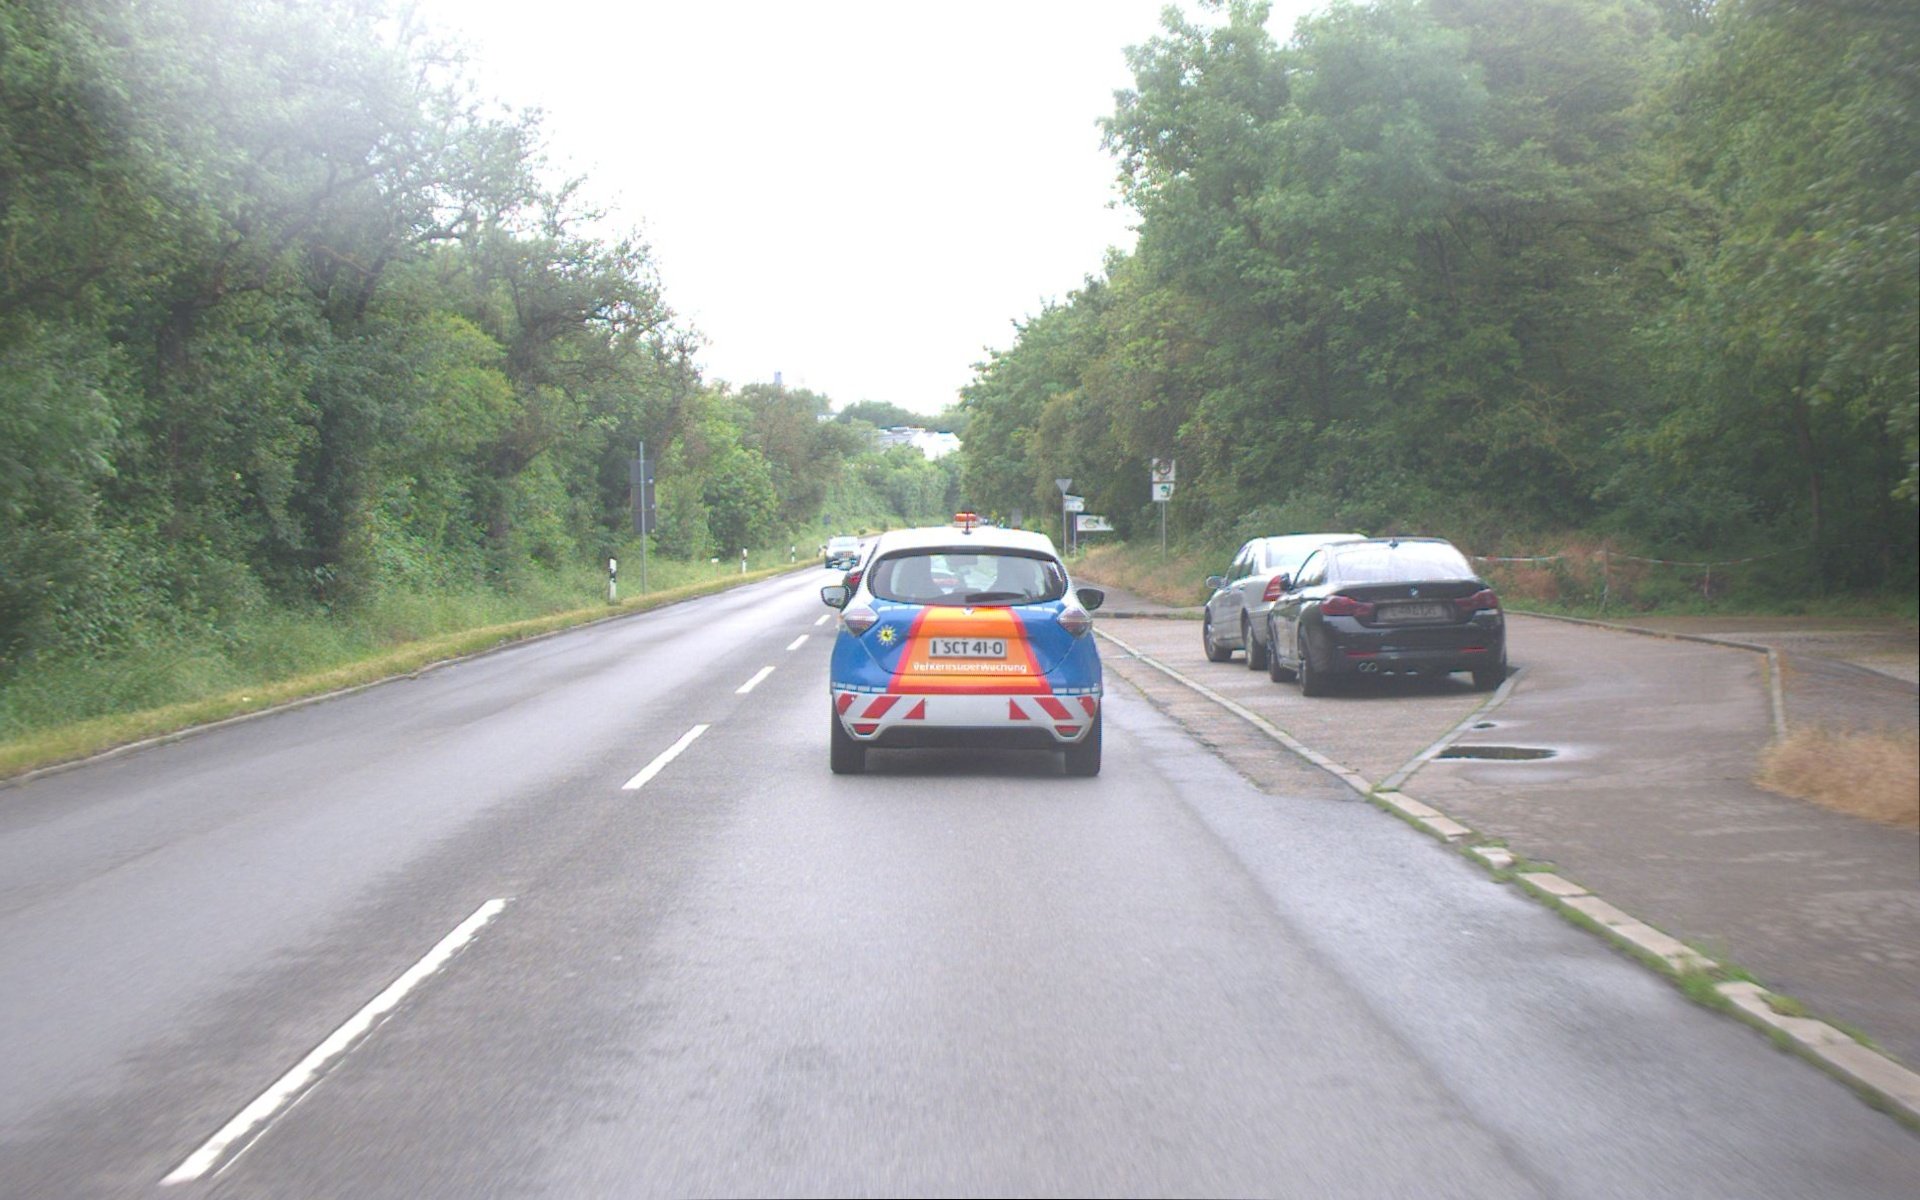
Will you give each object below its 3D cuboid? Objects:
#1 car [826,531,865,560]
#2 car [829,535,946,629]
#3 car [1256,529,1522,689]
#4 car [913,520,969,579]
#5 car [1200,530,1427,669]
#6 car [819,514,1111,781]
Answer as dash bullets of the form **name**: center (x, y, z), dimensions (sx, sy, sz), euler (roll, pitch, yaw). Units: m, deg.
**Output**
- **car**: center (-5.529, -2.637, 165.991), dimensions (1.884, 1.382, 4.001), euler (0, 1, -2)
- **car**: center (-1.026, -0.287, 50.176), dimensions (1.598, 1.282, 3.476), euler (-1, 1, 0)
- **car**: center (3.950, 0.041, 32.252), dimensions (1.993, 1.371, 4.000), euler (-1, 1, 0)
- **car**: center (-0.627, -1.645, 110.649), dimensions (1.743, 1.875, 4.000), euler (0, 1, -1)
- **car**: center (3.853, -0.047, 38.091), dimensions (1.993, 1.436, 4.068), euler (0, 1, -1)
- **car**: center (0.013, 0.242, 22.715), dimensions (1.752, 1.550, 3.793), euler (1, 2, -1)
